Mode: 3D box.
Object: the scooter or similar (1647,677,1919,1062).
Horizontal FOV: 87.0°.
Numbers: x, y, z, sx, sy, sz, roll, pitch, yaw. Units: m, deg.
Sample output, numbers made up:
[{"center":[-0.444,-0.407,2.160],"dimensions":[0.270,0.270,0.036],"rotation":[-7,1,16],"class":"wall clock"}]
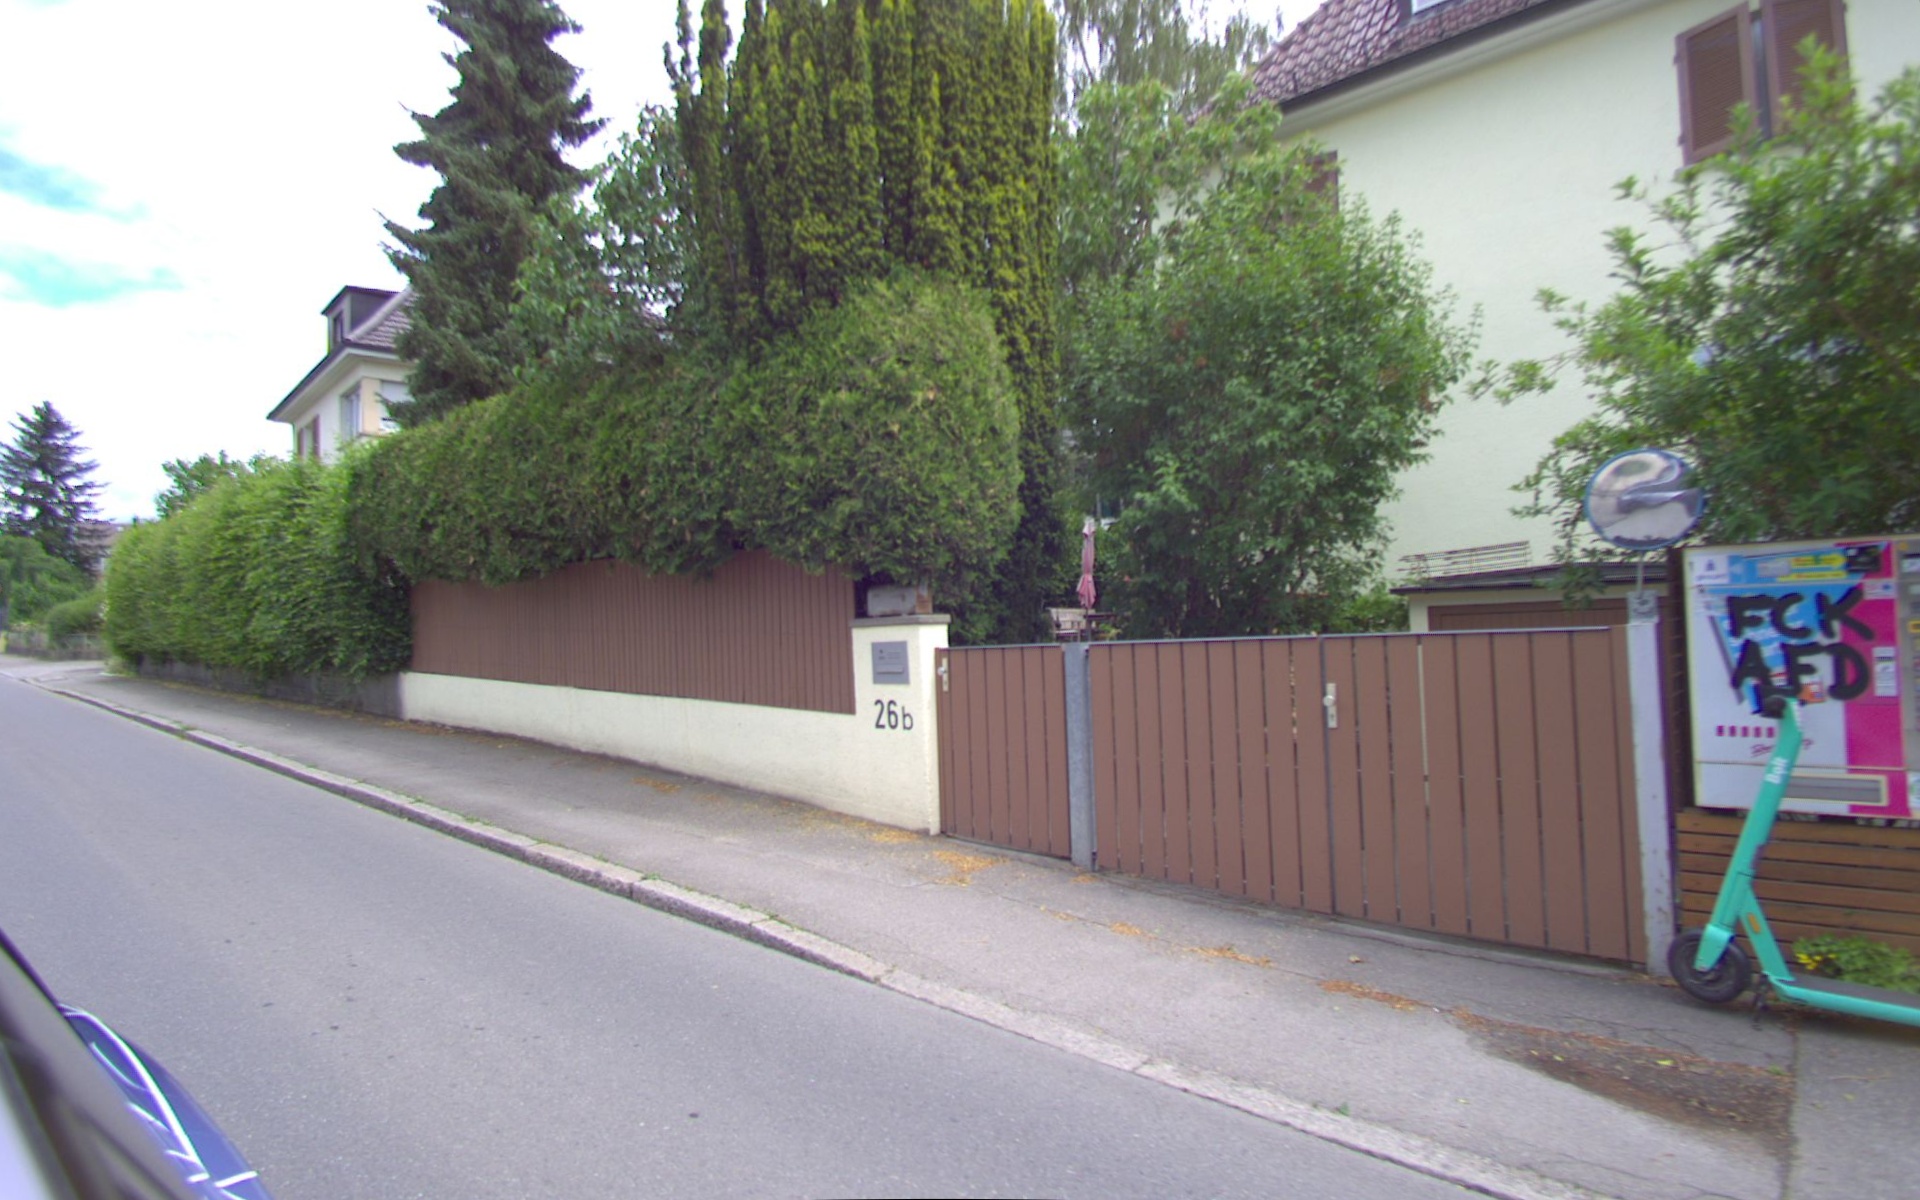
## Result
[{"center":[3.122,0.880,3.418],"dimensions":[1.269,1.180,0.387],"rotation":[-2,-1,41],"class":"scooter or similar"}]
